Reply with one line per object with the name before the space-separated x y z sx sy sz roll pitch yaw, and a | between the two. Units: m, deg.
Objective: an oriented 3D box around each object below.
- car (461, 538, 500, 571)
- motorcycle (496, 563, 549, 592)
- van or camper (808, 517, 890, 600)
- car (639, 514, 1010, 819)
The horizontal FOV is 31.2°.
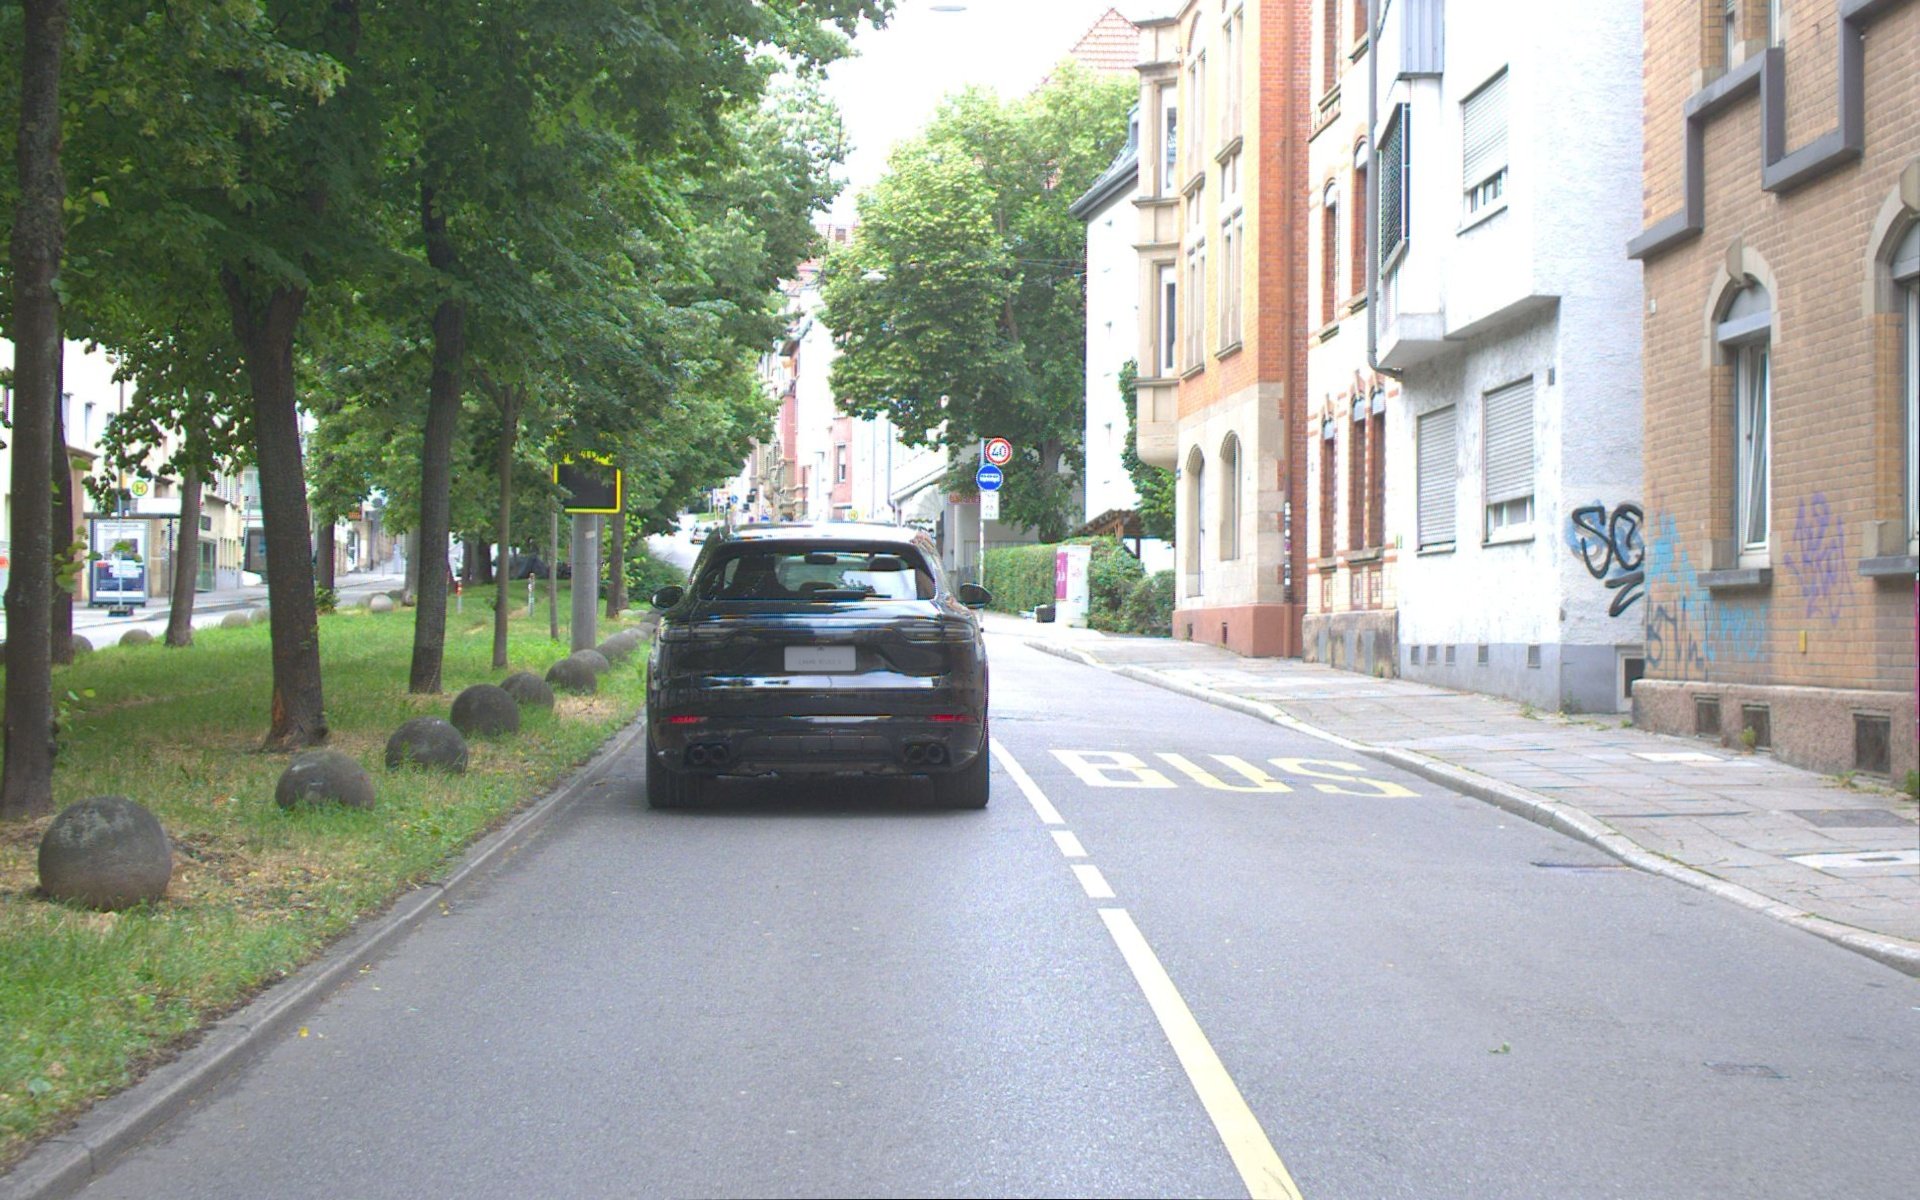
car | -27.212 -2.568 195.179 1.948 1.623 4.366 -7 1 -7
motorcycle | -20.002 -1.023 157.296 2.382 1.312 1.046 1 1 -6
van or camper | -3.952 -1.447 121.261 2.479 2.793 7.239 1 0 -5
car | -0.932 0.357 20.927 1.903 1.660 4.136 1 0 -7
